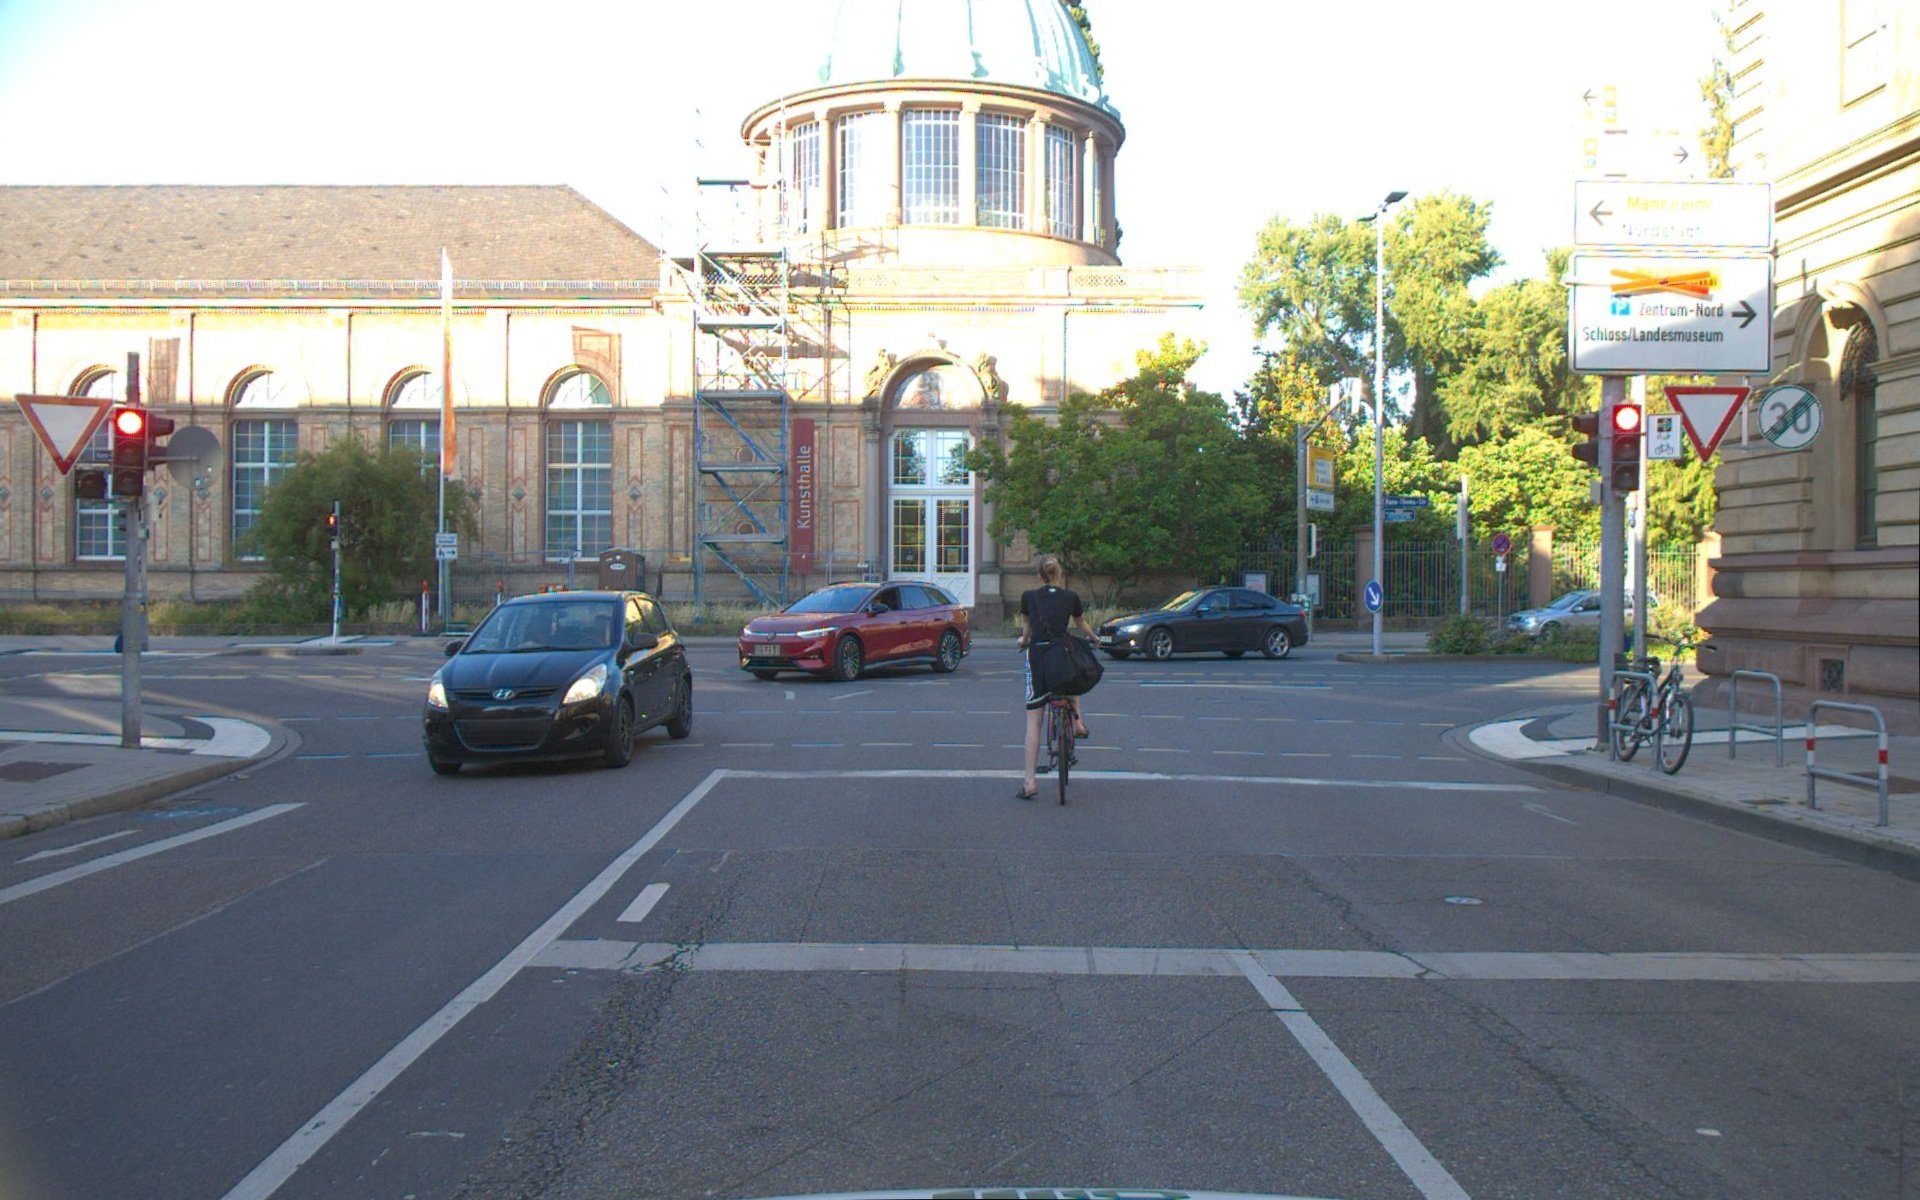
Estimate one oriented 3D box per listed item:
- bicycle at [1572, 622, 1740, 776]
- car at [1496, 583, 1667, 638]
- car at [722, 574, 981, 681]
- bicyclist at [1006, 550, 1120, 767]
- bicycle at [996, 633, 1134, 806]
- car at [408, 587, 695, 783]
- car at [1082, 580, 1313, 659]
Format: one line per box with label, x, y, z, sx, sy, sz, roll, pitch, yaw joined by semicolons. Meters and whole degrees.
bicycle;5.806;0.794;13.911;0.570;1.209;1.919;0;-1;-1
car;17.119;0.279;45.641;4.104;1.470;1.713;0;0;-6
car;-1.676;0.384;27.382;1.798;1.572;4.836;0;1;32
bicyclist;0.768;0.420;12.113;0.701;1.529;0.851;0;-1;13
bicycle;0.821;0.836;12.345;0.696;1.176;2.070;0;-1;13
car;-3.583;0.667;15.175;1.624;1.497;3.854;-1;1;0
car;4.813;0.372;33.588;4.342;1.484;1.778;-1;0;-19
